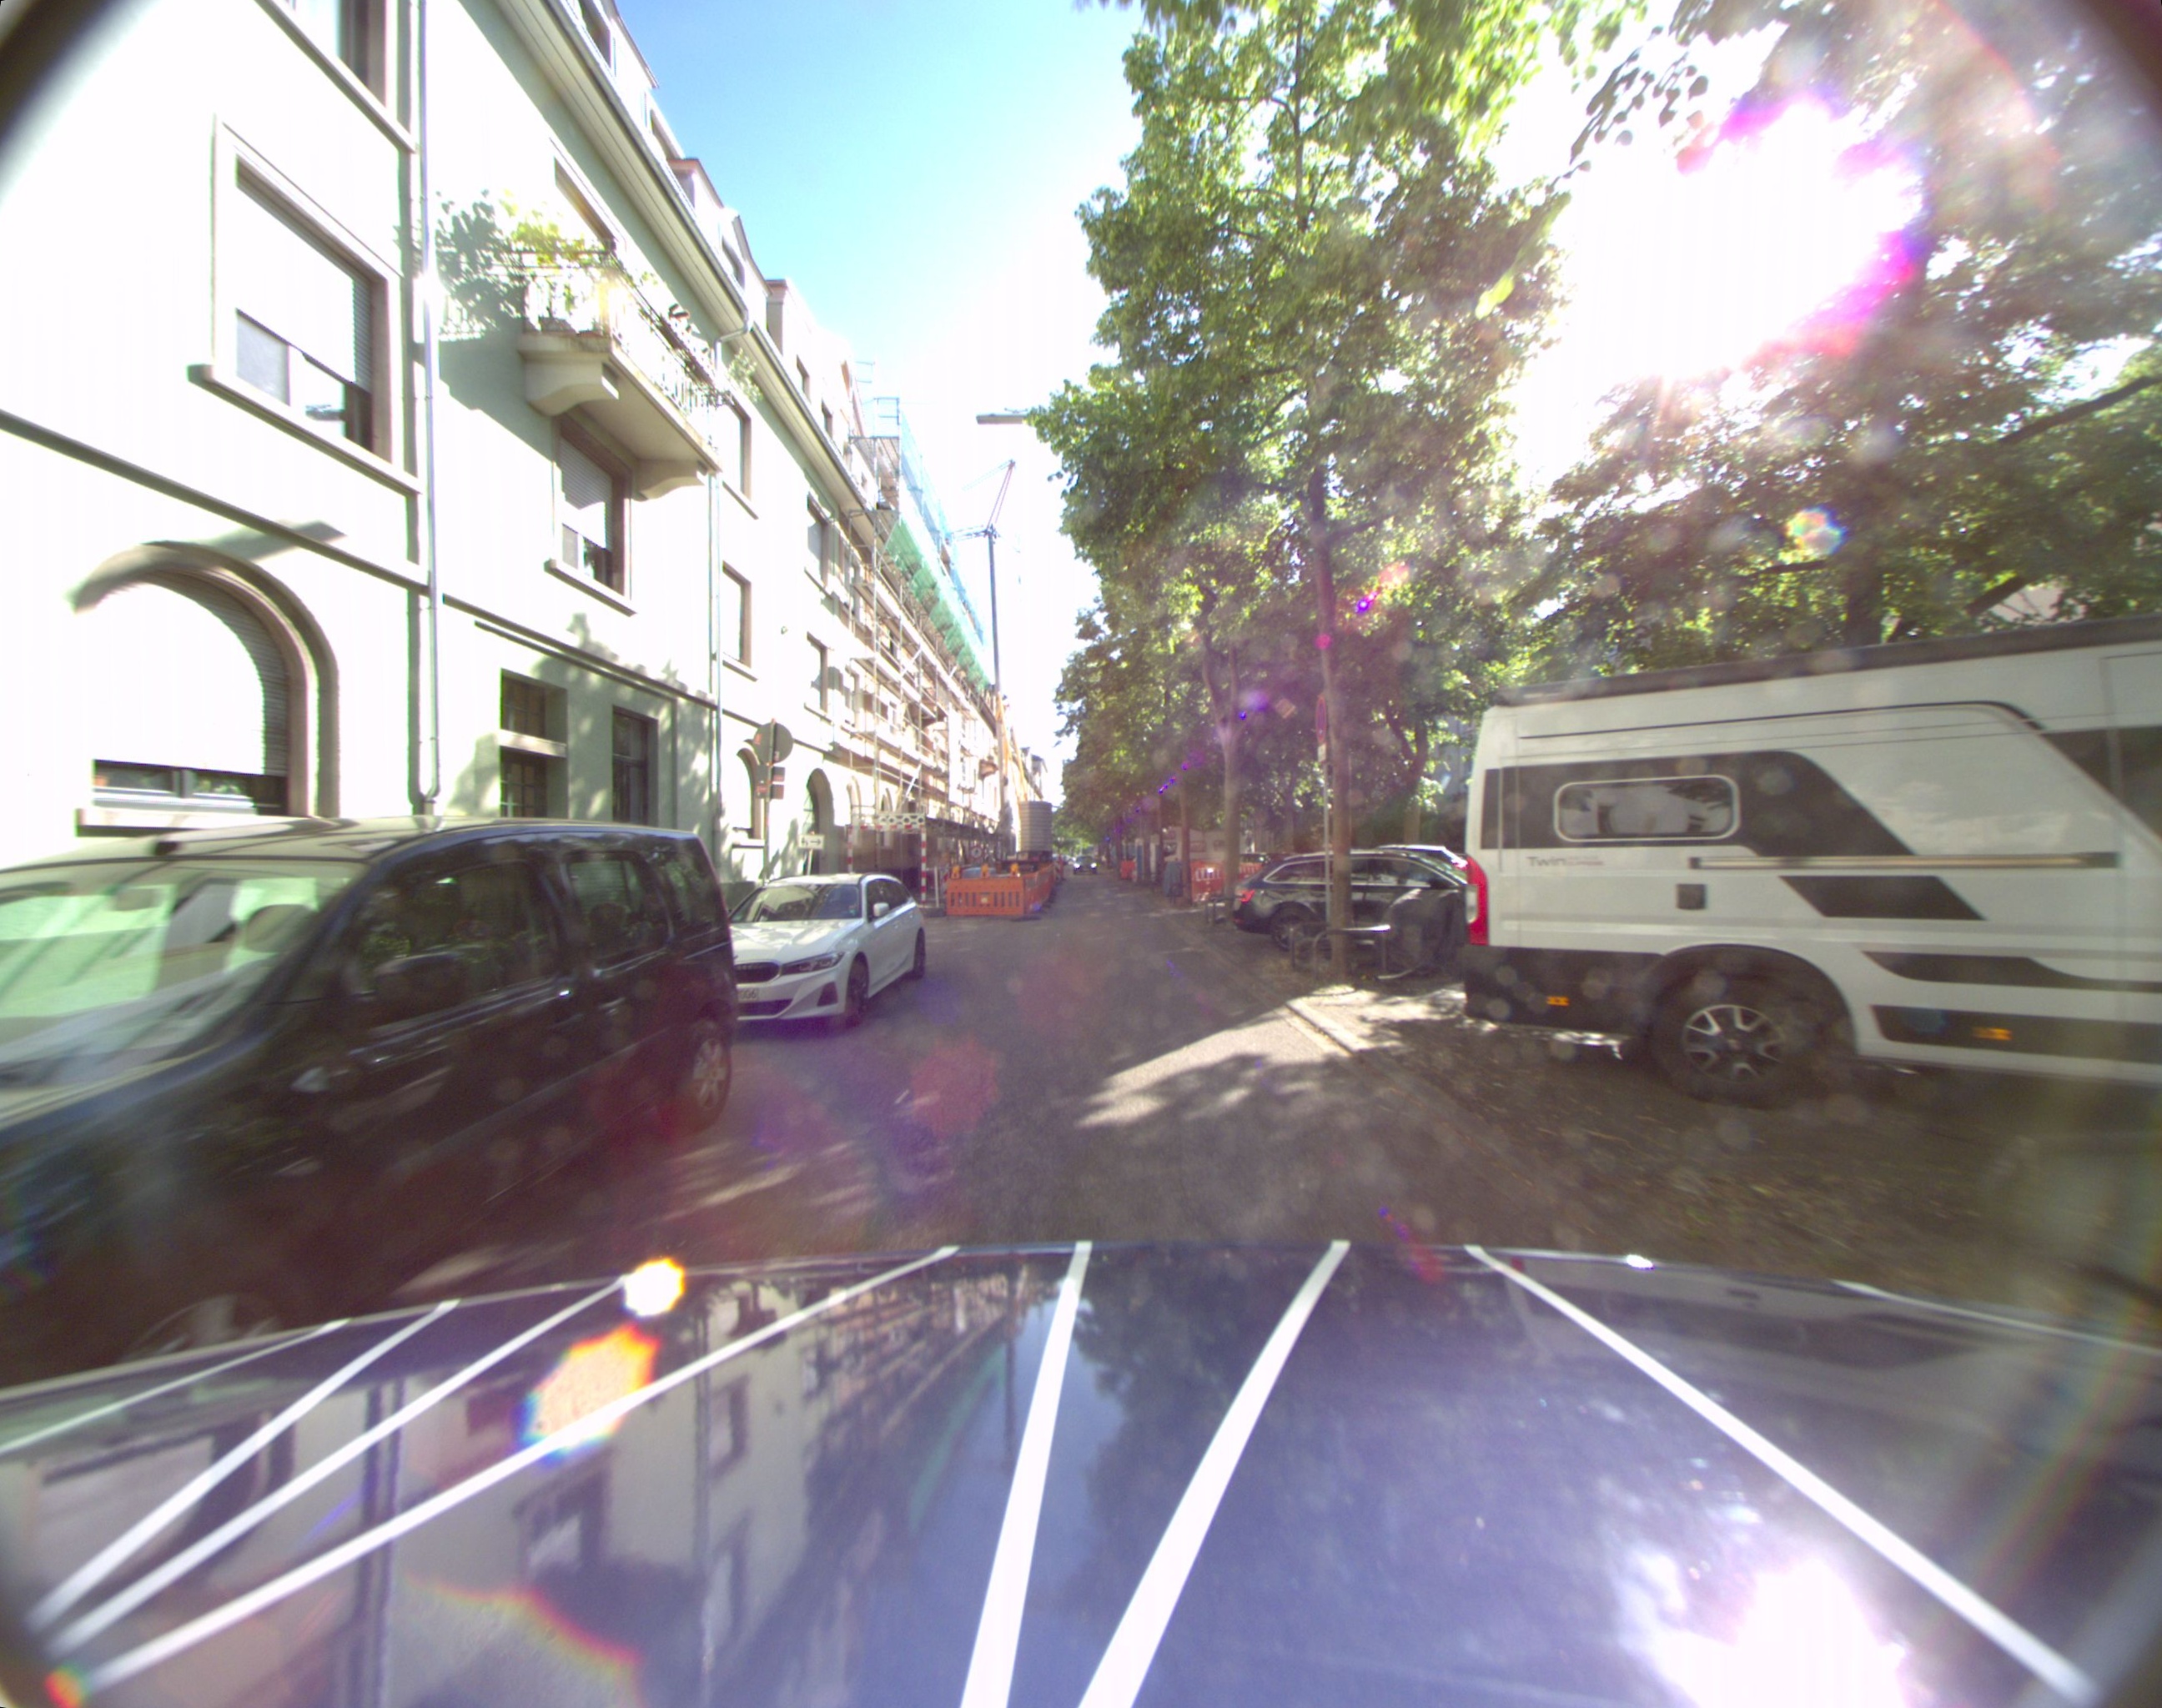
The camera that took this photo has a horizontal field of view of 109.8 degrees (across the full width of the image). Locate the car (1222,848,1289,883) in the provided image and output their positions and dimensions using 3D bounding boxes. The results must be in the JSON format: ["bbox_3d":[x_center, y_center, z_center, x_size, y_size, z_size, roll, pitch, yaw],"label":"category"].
[{"bbox_3d":[8.818,0.534,38.449,2.984,1.707,1.425,0,1,32],"label":"car"}]

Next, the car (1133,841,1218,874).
[{"bbox_3d":[7.313,0.238,58.983,6.186,2.497,2.143,0,1,27],"label":"car"}]

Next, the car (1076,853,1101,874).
[{"bbox_3d":[0.636,0.703,59.037,1.792,1.510,4.001,0,0,3],"label":"car"}]

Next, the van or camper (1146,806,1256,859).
[{"bbox_3d":[7.200,-1.242,45.733,6.017,2.984,2.404,0,1,29],"label":"van or camper"}]

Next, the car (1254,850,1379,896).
[{"bbox_3d":[7.965,0.599,25.714,3.904,1.452,1.580,0,1,21],"label":"car"}]

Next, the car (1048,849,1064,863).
[{"bbox_3d":[-2.920,0.200,88.969,1.864,1.584,3.999,0,0,-1],"label":"car"}]

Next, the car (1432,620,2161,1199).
[{"bbox_3d":[5.572,0.220,4.190,6.310,2.544,2.342,-1,1,32],"label":"car"}]

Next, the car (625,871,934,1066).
[{"bbox_3d":[-2.932,1.007,8.496,1.709,1.503,4.283,0,0,0],"label":"car"}]

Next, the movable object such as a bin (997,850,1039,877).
[{"bbox_3d":[-3.750,0.548,45.271,1.872,1.518,1.631,0,1,34],"label":"movable object such as a bin"}]

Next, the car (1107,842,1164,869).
[{"bbox_3d":[4.558,0.127,63.561,4.386,2.155,1.774,0,1,27],"label":"car"}]

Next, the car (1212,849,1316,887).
[{"bbox_3d":[7.816,0.560,32.545,3.988,1.510,1.674,0,1,34],"label":"car"}]

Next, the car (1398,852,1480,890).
[{"bbox_3d":[15.662,0.688,33.490,1.723,1.550,4.112,0,0,0],"label":"car"}]

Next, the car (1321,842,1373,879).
[{"bbox_3d":[15.644,0.357,44.951,1.625,2.002,4.267,-1,0,1],"label":"car"}]

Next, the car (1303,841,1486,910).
[{"bbox_3d":[7.912,0.485,19.361,4.123,1.616,1.701,0,1,23],"label":"car"}]

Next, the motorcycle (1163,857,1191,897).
[{"bbox_3d":[3.423,0.779,27.002,0.631,1.317,2.231,-2,1,15],"label":"motorcycle"}]

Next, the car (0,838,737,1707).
[{"bbox_3d":[-3.009,0.856,2.718,1.776,1.783,3.989,0,0,-1],"label":"car"}]

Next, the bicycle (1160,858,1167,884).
[{"bbox_3d":[3.811,0.760,35.142,0.281,1.149,1.552,0,0,5],"label":"bicycle"}]

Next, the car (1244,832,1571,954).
[{"bbox_3d":[4.725,0.618,11.247,4.090,1.516,1.705,-5,-1,30],"label":"car"}]
